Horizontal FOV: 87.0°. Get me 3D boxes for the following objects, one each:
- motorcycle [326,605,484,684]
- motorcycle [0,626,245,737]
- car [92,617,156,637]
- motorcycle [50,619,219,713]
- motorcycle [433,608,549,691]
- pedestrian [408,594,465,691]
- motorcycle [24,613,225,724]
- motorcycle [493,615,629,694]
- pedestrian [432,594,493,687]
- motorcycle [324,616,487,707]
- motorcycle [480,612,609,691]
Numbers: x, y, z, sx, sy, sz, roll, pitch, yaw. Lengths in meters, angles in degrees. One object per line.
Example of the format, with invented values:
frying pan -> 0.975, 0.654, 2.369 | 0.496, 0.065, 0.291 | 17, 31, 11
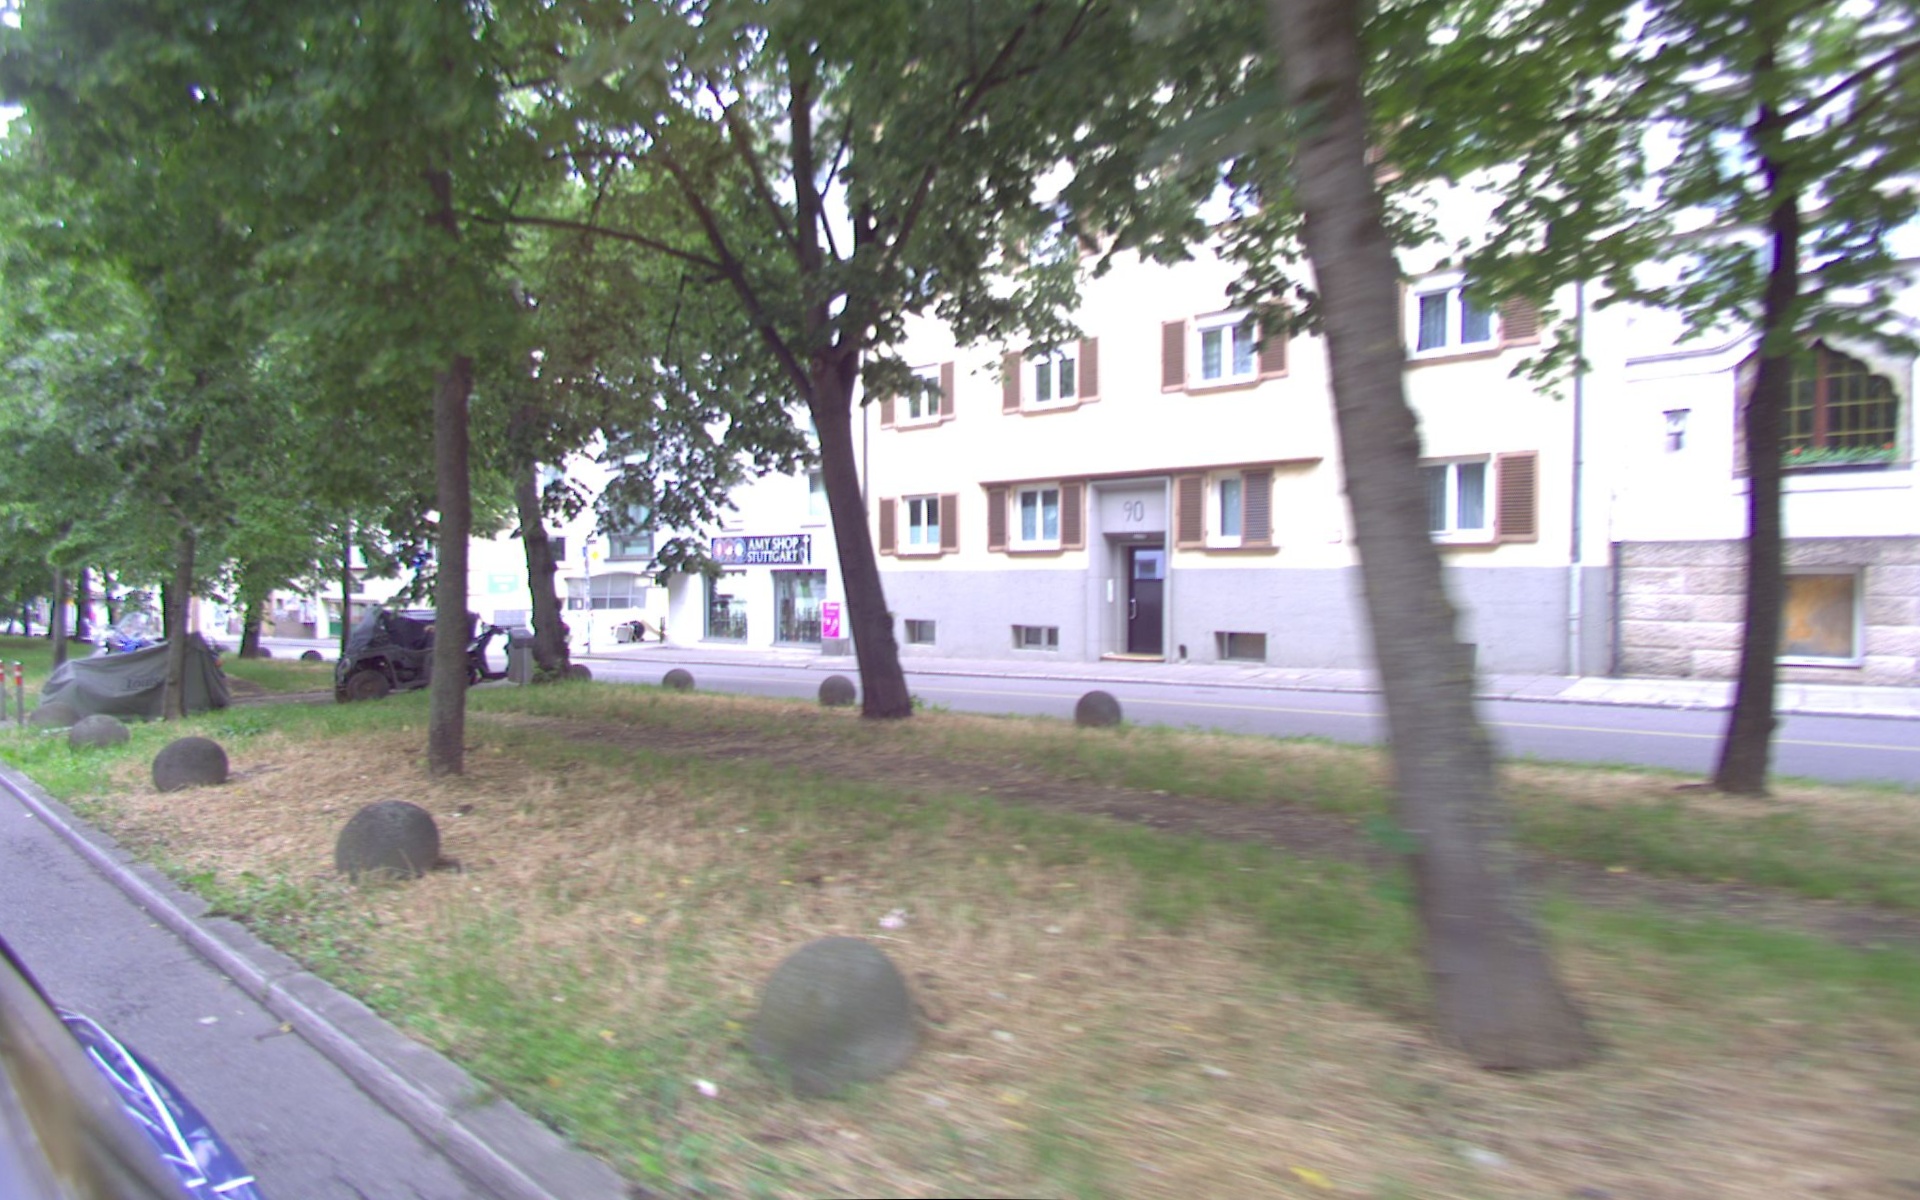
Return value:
motorcycle -> -10.340, 0.787, 18.924 | 1.044, 1.327, 2.359 | -2, 0, 39
motorcycle -> -11.017, 1.027, 13.396 | 1.032, 1.245, 2.332 | -4, -1, 39
car -> -76.138, 2.410, 92.215 | 2.048, 1.430, 4.242 | -3, 2, 43
motorcycle -> -12.884, 0.987, 15.843 | 0.892, 1.306, 1.906 | 1, 1, 39
motorcycle -> -8.115, 0.825, 17.567 | 0.624, 1.349, 1.745 | -1, -1, 39
pedestrian -> -9.035, 0.720, 17.473 | 0.578, 1.628, 0.656 | -2, 0, 37
motorcycle -> -12.294, 0.960, 14.959 | 0.874, 1.449, 2.170 | -2, 0, 43
motorcycle -> -6.750, 0.889, 17.232 | 0.622, 1.245, 2.109 | 0, 0, 40
pedestrian -> -8.989, 0.717, 18.278 | 0.762, 1.625, 0.629 | -2, 0, 33
motorcycle -> -8.418, 0.897, 15.420 | 2.005, 1.245, 0.897 | -1, 0, -44
motorcycle -> -7.224, 0.874, 17.692 | 0.515, 1.245, 2.089 | -2, 0, 39
